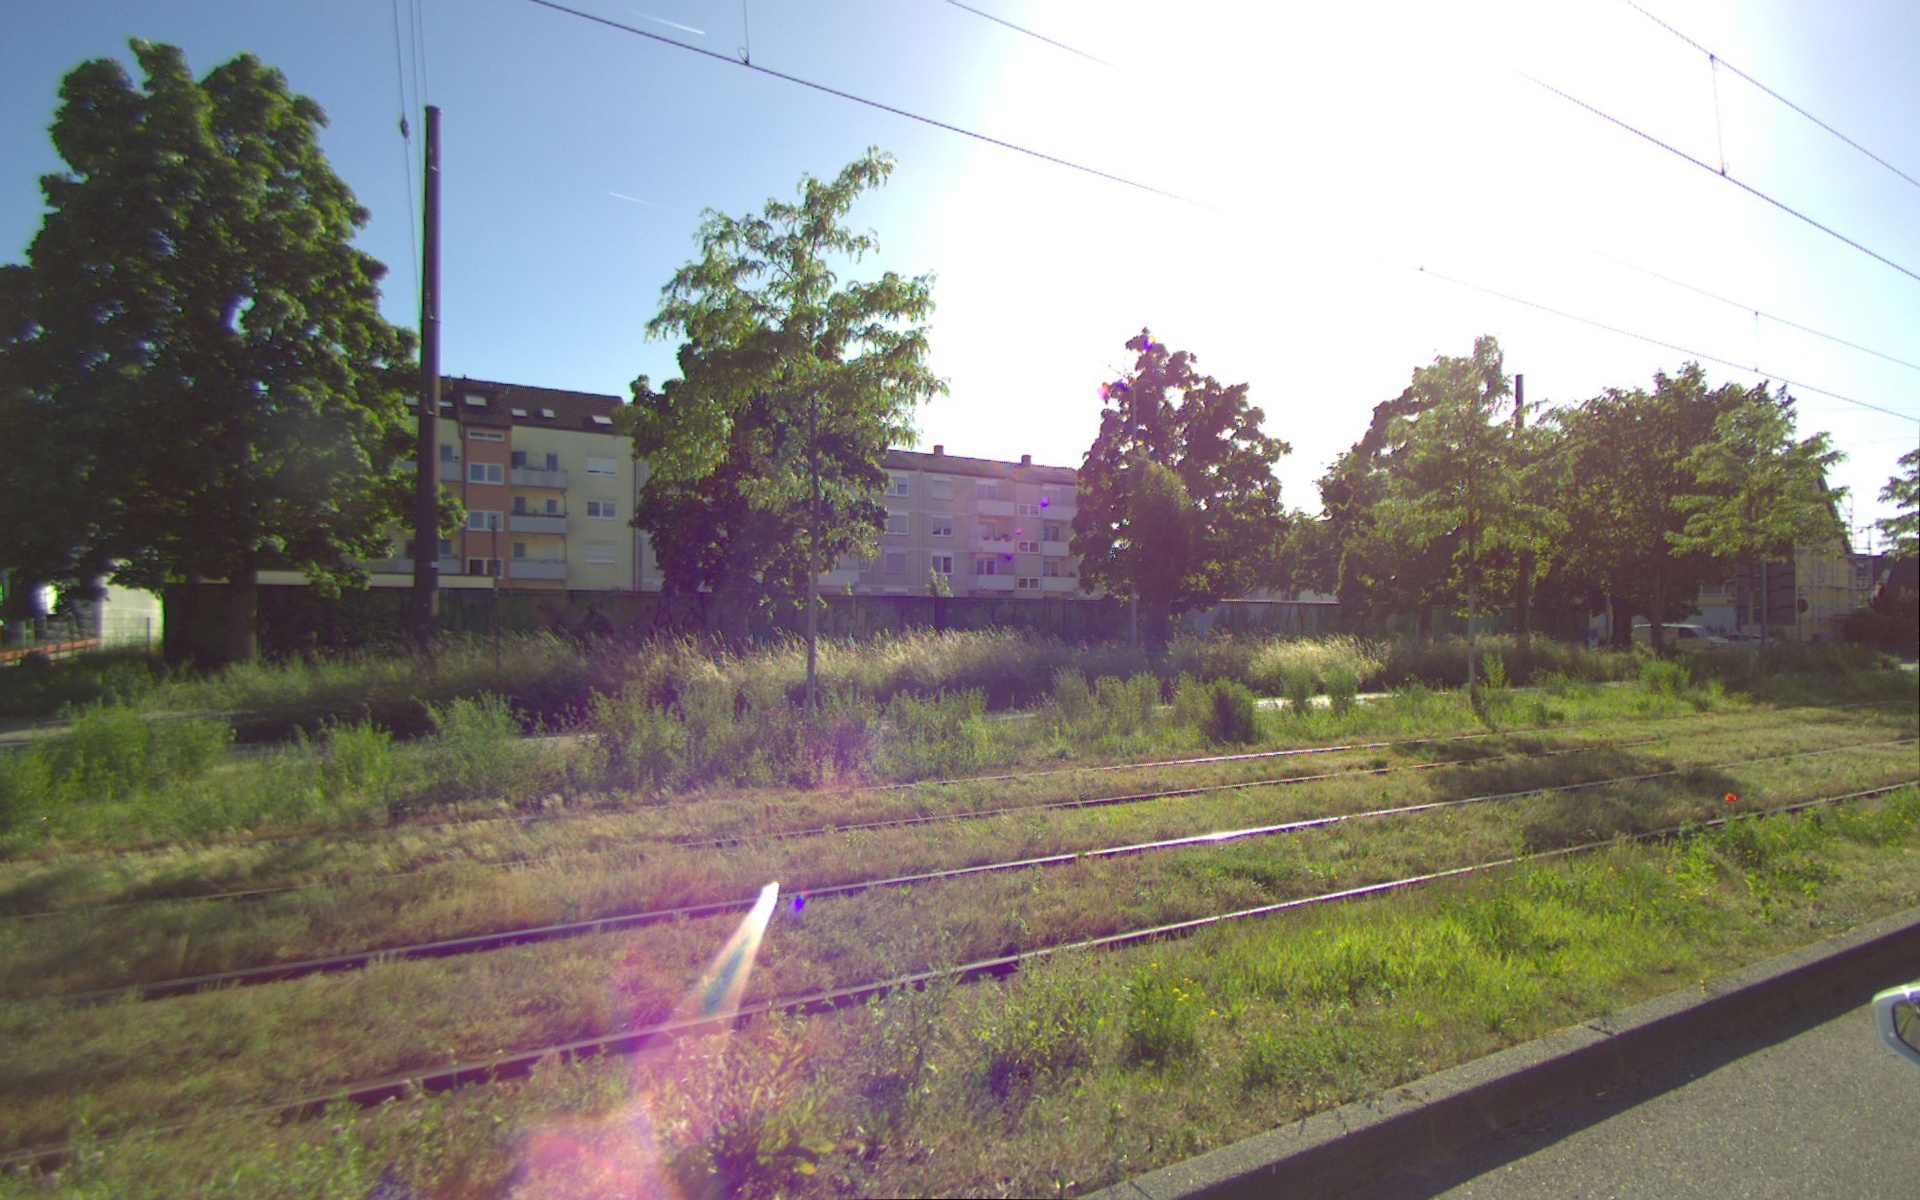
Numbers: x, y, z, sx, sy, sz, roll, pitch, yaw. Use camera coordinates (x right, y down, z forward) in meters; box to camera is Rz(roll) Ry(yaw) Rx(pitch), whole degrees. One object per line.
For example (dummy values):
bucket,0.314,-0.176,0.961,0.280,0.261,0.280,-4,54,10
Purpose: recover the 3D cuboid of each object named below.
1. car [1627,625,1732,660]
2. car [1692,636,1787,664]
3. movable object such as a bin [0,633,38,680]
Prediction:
car,41.821,2.445,58.509,1.881,1.940,4.665,1,-1,-29
car,45.186,2.902,58.287,1.832,1.422,3.968,4,-3,-30
movable object such as a bin,-21.376,1.276,22.782,0.597,1.043,0.501,2,-1,-34
